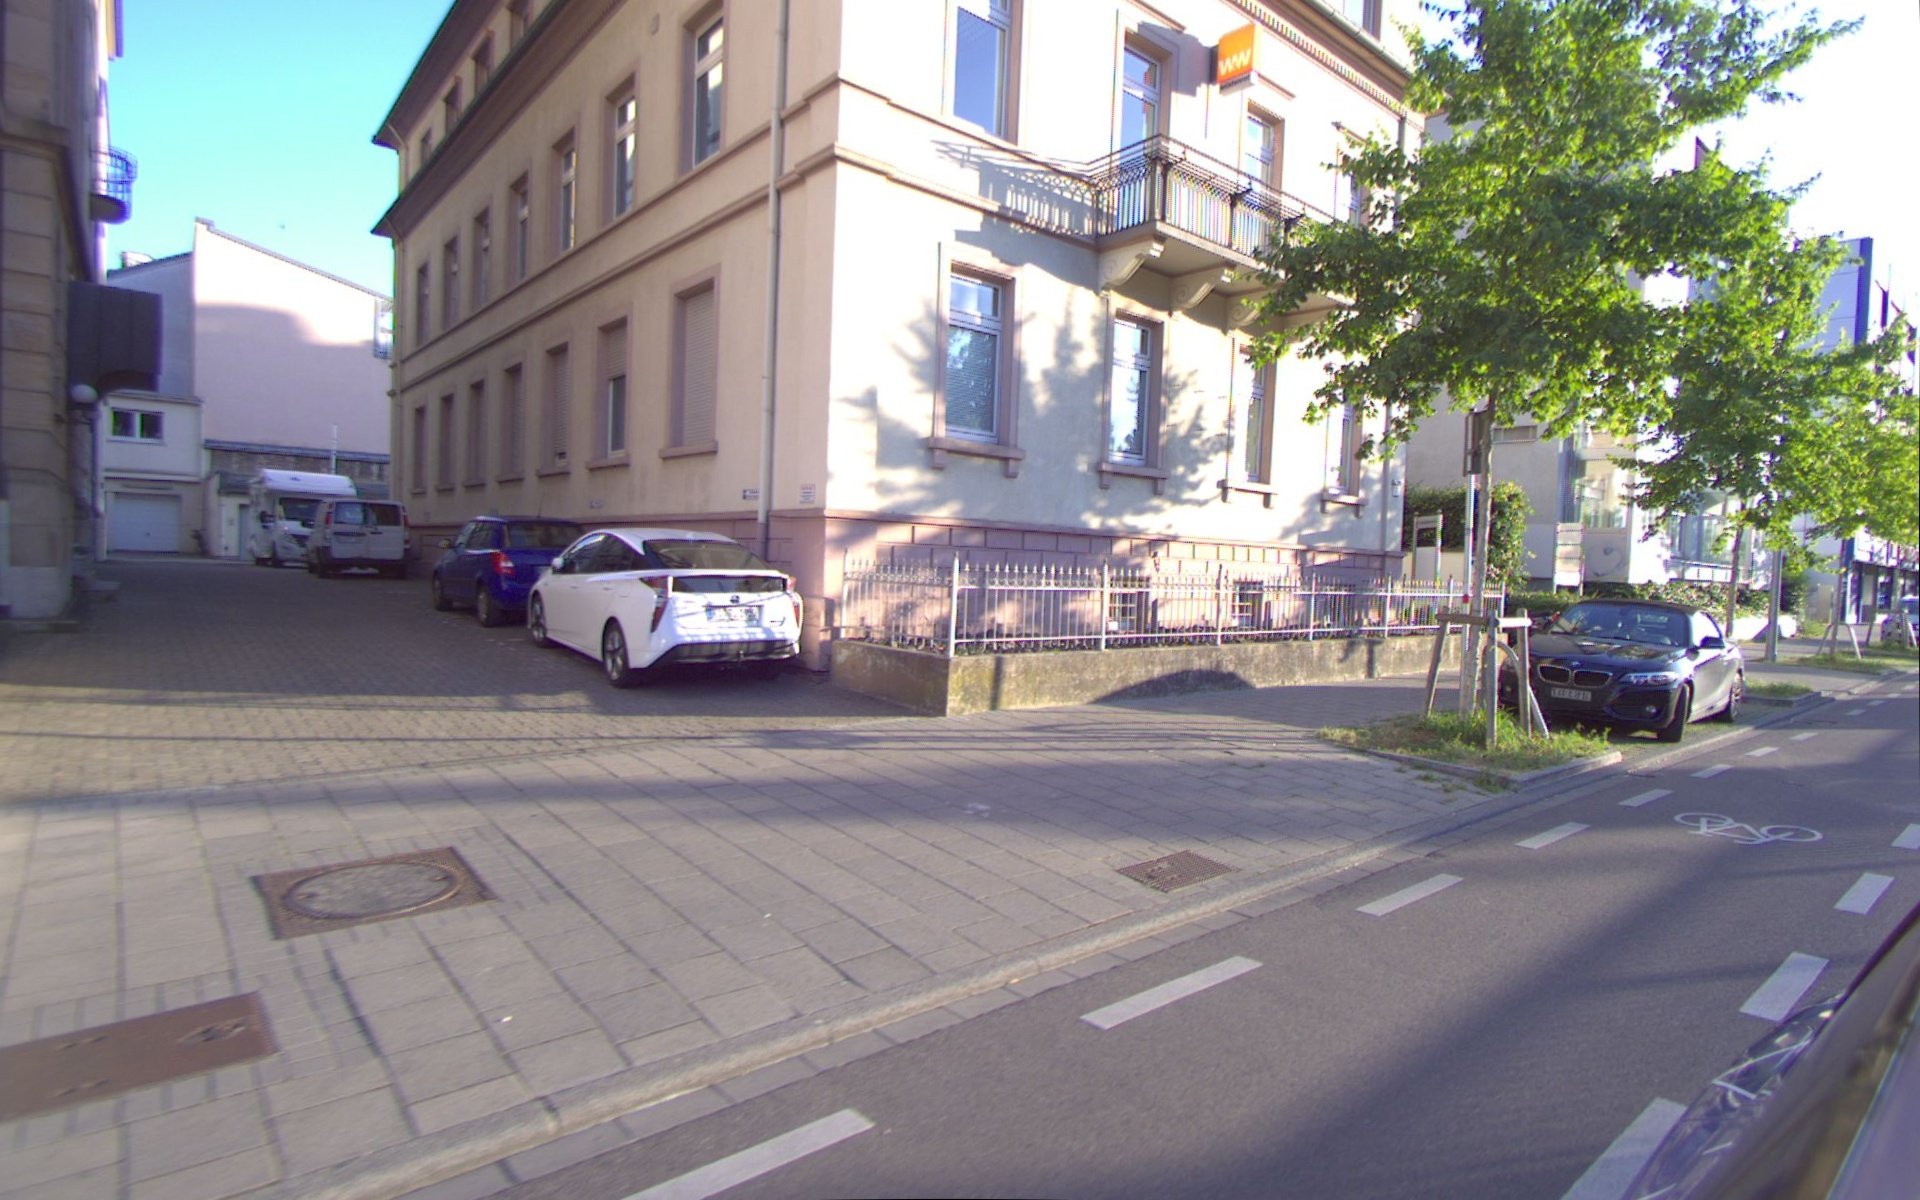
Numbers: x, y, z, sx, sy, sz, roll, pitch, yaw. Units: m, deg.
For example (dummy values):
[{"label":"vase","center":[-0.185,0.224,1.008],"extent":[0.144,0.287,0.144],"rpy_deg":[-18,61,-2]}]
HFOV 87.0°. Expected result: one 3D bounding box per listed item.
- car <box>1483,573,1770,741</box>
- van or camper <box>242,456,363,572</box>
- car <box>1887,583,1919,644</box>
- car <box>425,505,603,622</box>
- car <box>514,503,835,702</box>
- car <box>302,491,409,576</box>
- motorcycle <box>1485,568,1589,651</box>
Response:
[{"label":"car","center":[7.976,0.538,11.931],"extent":[4.371,1.488,1.796],"rpy_deg":[0,5,-44]},{"label":"van or camper","center":[-20.525,-2.554,31.440],"extent":[2.371,3.203,6.216],"rpy_deg":[0,2,-41]},{"label":"car","center":[29.693,0.447,30.734],"extent":[4.181,1.727,1.858],"rpy_deg":[0,4,-43]},{"label":"car","center":[-6.615,-0.590,14.811],"extent":[1.470,1.501,3.559],"rpy_deg":[0,4,-39]},{"label":"car","center":[-3.274,-0.126,10.959],"extent":[1.881,1.589,4.210],"rpy_deg":[1,6,-38]},{"label":"car","center":[-14.965,-1.590,24.957],"extent":[1.781,1.872,4.136],"rpy_deg":[0,2,-38]},{"label":"motorcycle","center":[10.928,0.167,19.200],"extent":[0.616,1.430,1.498],"rpy_deg":[2,3,-44]}]
